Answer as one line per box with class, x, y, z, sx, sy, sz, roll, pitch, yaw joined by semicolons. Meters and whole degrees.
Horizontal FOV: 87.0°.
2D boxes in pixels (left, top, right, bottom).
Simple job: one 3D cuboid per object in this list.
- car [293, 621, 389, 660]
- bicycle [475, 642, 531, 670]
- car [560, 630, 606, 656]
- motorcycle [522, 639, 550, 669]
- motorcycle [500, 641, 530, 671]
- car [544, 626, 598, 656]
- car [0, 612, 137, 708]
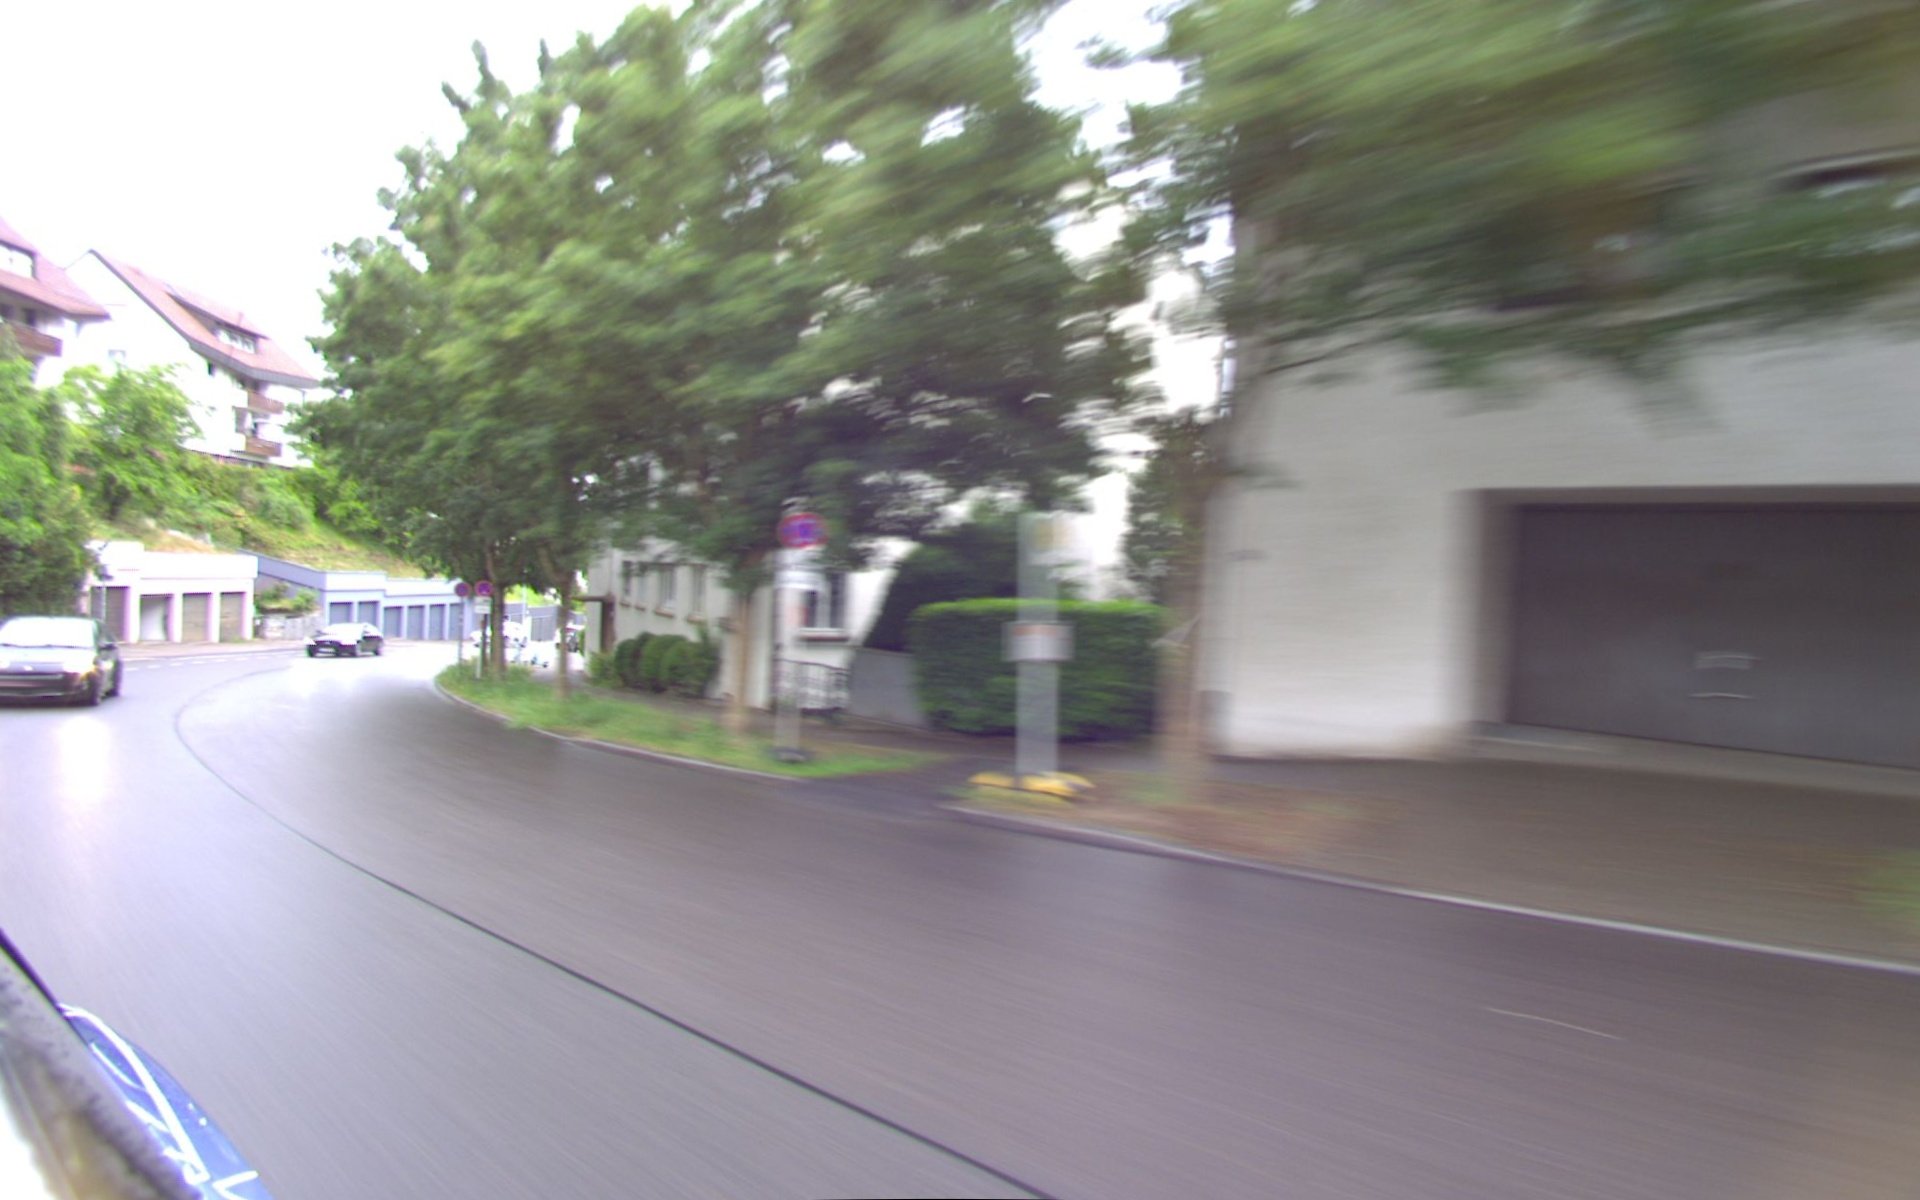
car;-25.592;1.673;41.992;1.967;1.522;4.219;1;-2;-10
bicycle;-18.002;2.210;39.897;1.935;1.068;0.756;3;-3;-26
car;-22.673;2.561;60.743;1.965;1.401;4.211;3;-2;-28
motorcycle;-18.013;2.311;43.030;0.546;1.237;1.304;2;-3;2
motorcycle;-18.670;2.326;42.453;0.551;1.213;1.398;2;-3;2
car;-26.556;2.835;69.255;1.962;1.802;4.696;4;-4;-2
car;-15.630;0.978;17.407;1.670;1.475;4.012;3;-3;-31
